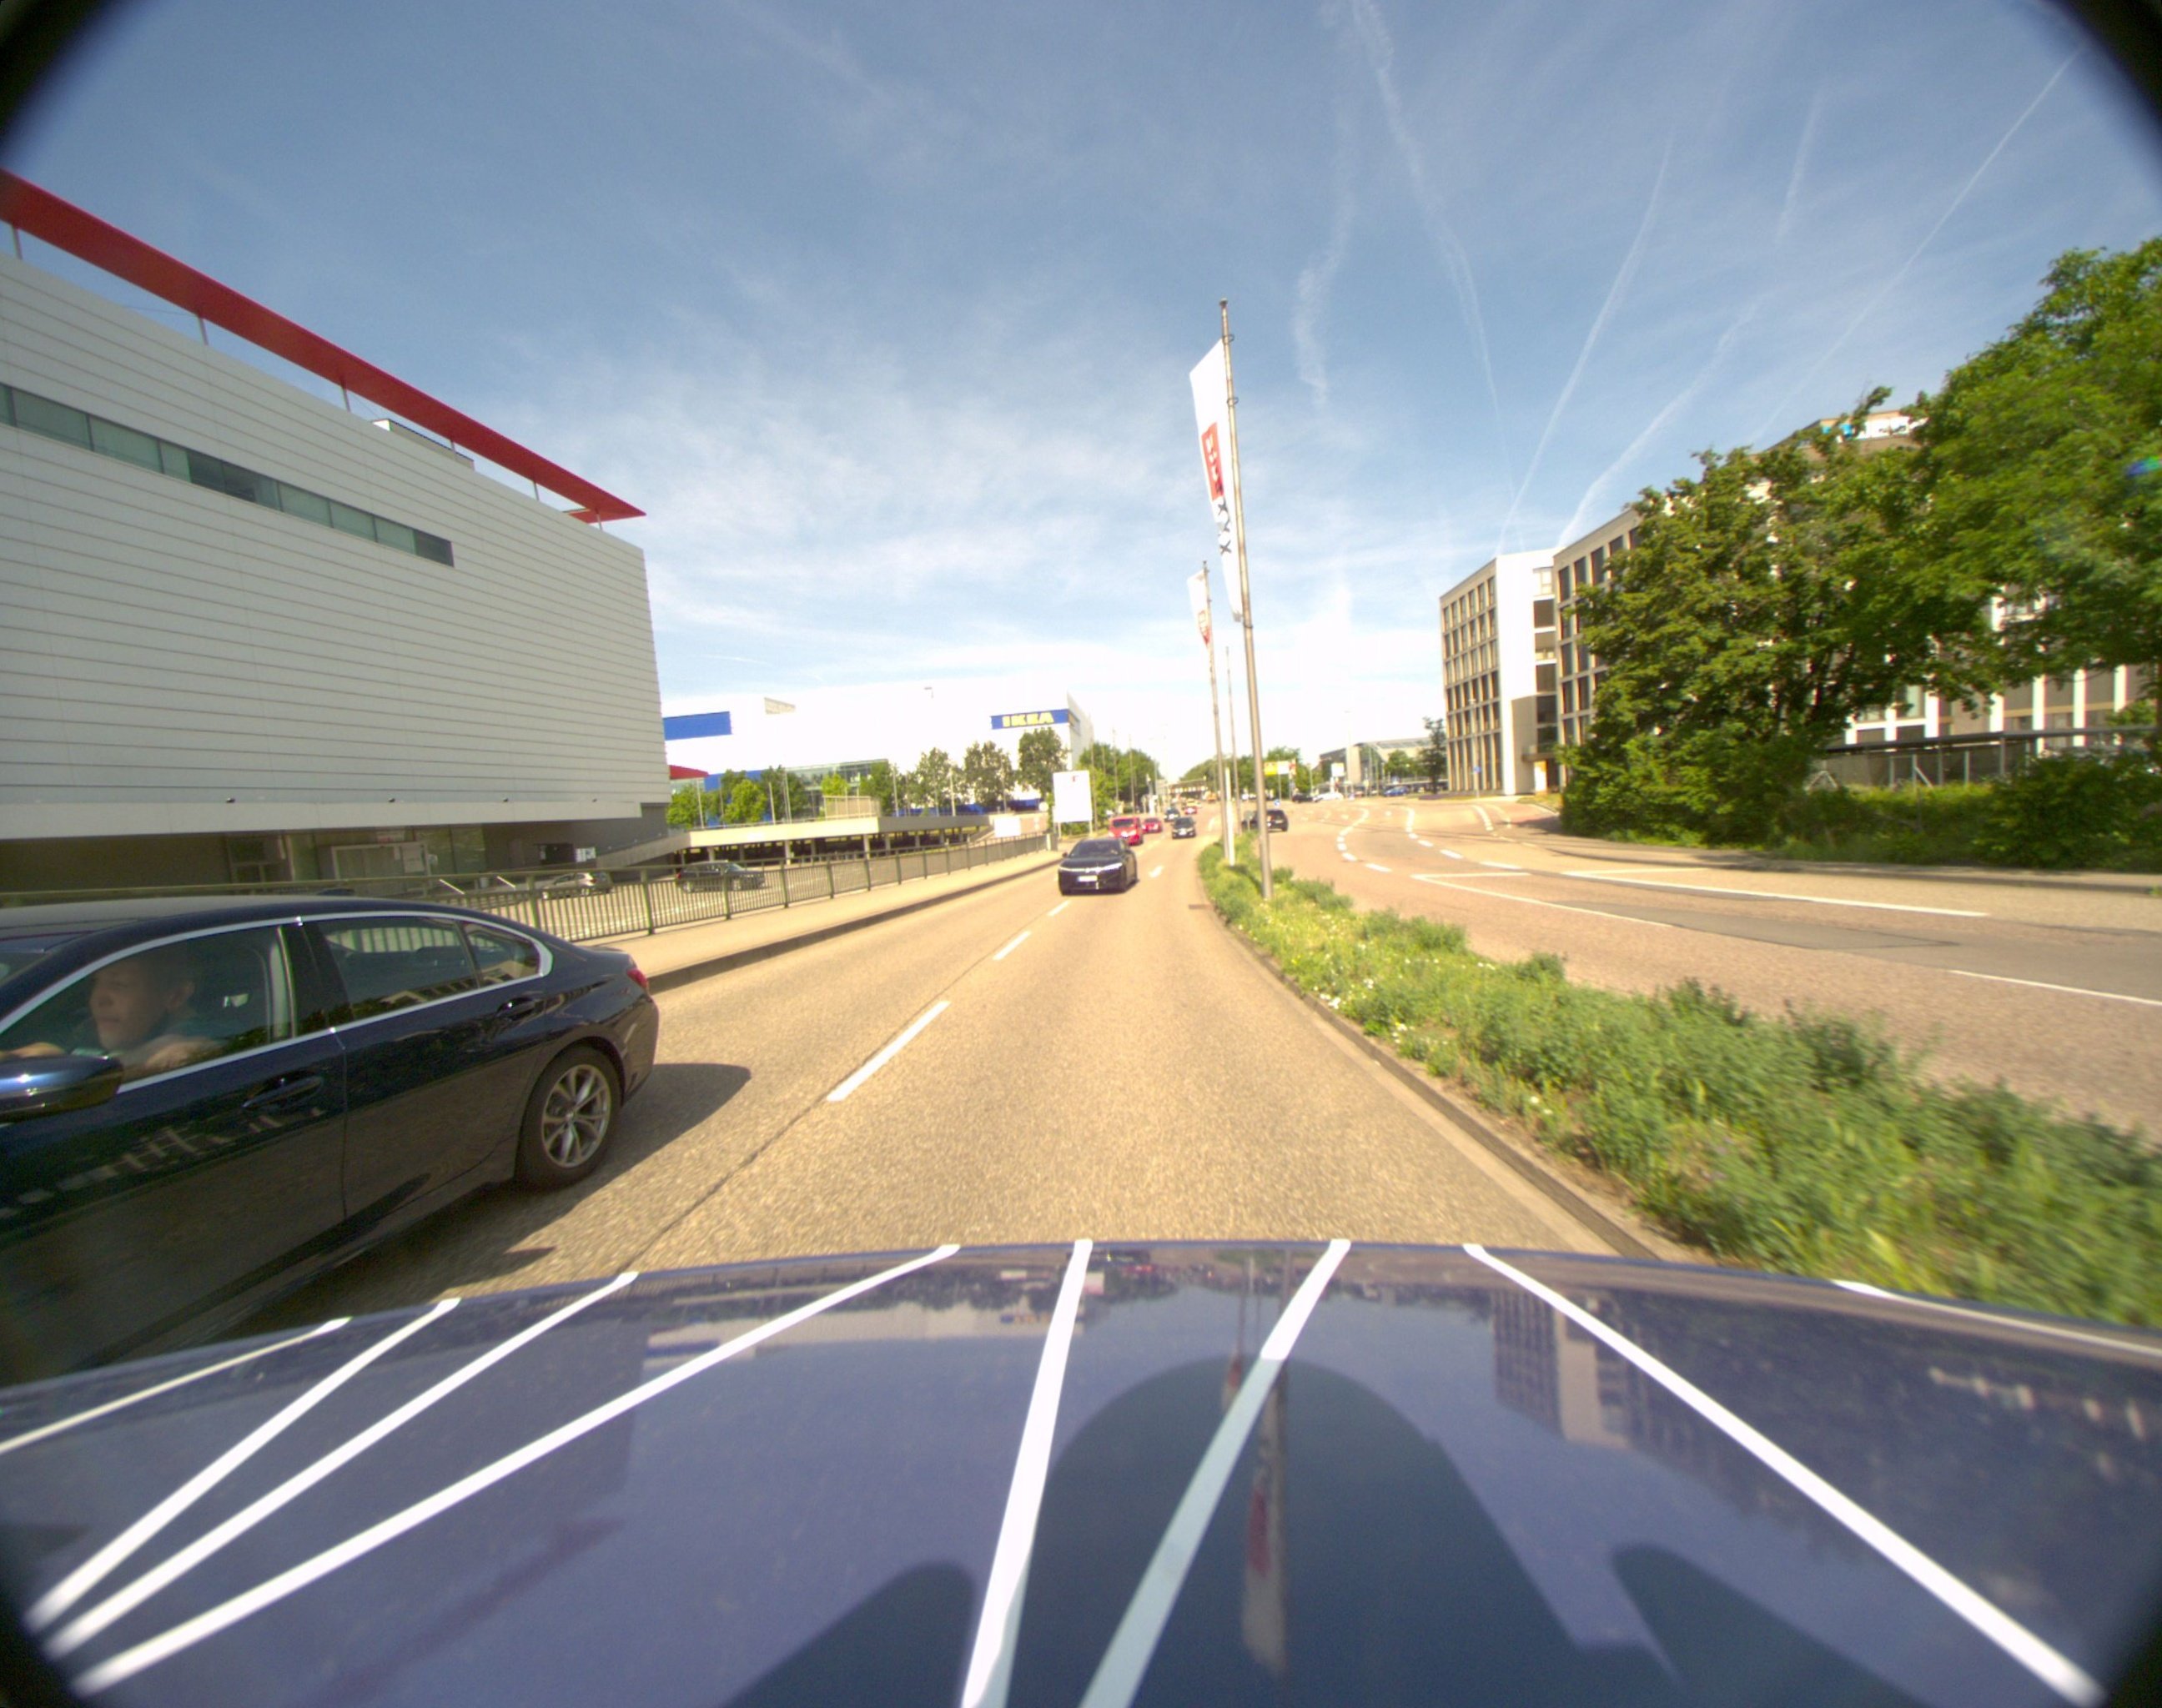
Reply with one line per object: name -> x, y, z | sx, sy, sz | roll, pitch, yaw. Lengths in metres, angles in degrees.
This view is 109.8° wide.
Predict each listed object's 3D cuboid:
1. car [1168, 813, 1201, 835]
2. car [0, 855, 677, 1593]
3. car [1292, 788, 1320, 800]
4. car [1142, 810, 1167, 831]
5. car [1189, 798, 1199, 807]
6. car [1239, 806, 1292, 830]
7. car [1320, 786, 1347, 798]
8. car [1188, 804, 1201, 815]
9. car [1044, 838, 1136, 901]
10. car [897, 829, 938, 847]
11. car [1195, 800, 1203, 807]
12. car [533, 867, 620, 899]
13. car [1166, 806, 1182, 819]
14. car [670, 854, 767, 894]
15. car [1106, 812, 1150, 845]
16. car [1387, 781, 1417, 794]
car -> 7.604, -2.203, 55.607 | 1.847, 1.411, 4.001 | -2, 4, 15
car -> -3.371, 0.969, 2.130 | 1.791, 1.476, 4.517 | -4, 4, 2
car -> 38.243, -10.204, 128.981 | 4.386, 1.838, 1.813 | -2, 4, 21
car -> 6.770, -3.065, 69.659 | 1.776, 1.650, 4.144 | -4, 4, 11
car -> 21.837, -9.946, 147.107 | 1.824, 1.467, 3.999 | -3, 4, 8
car -> 12.955, -2.531, 53.584 | 1.863, 1.521, 4.136 | -4, 4, -14
car -> 44.950, -11.080, 135.220 | 4.386, 1.838, 1.813 | -2, 4, 21
car -> 17.484, -6.878, 117.420 | 1.824, 1.467, 3.999 | -3, 4, 8
car -> 0.361, 0.360, 21.233 | 1.859, 1.520, 4.146 | -1, 2, 10
car -> -19.383, -1.910, 90.146 | 4.314, 1.824, 1.999 | -4, 2, 2
car -> 27.159, -11.717, 174.836 | 1.824, 1.467, 3.999 | -3, 4, 8
car -> -29.529, 1.690, 44.509 | 3.864, 1.368, 1.811 | -5, 3, 7
car -> 11.548, -5.156, 94.197 | 1.824, 1.467, 3.999 | -3, 4, 8
car -> -19.426, 1.053, 40.724 | 4.409, 1.723, 1.863 | -4, 4, 17
car -> 3.200, -1.749, 50.849 | 1.986, 1.897, 4.145 | -4, 4, 15
car -> 54.381, -11.294, 128.913 | 4.388, 1.838, 1.812 | -3, 4, 13
